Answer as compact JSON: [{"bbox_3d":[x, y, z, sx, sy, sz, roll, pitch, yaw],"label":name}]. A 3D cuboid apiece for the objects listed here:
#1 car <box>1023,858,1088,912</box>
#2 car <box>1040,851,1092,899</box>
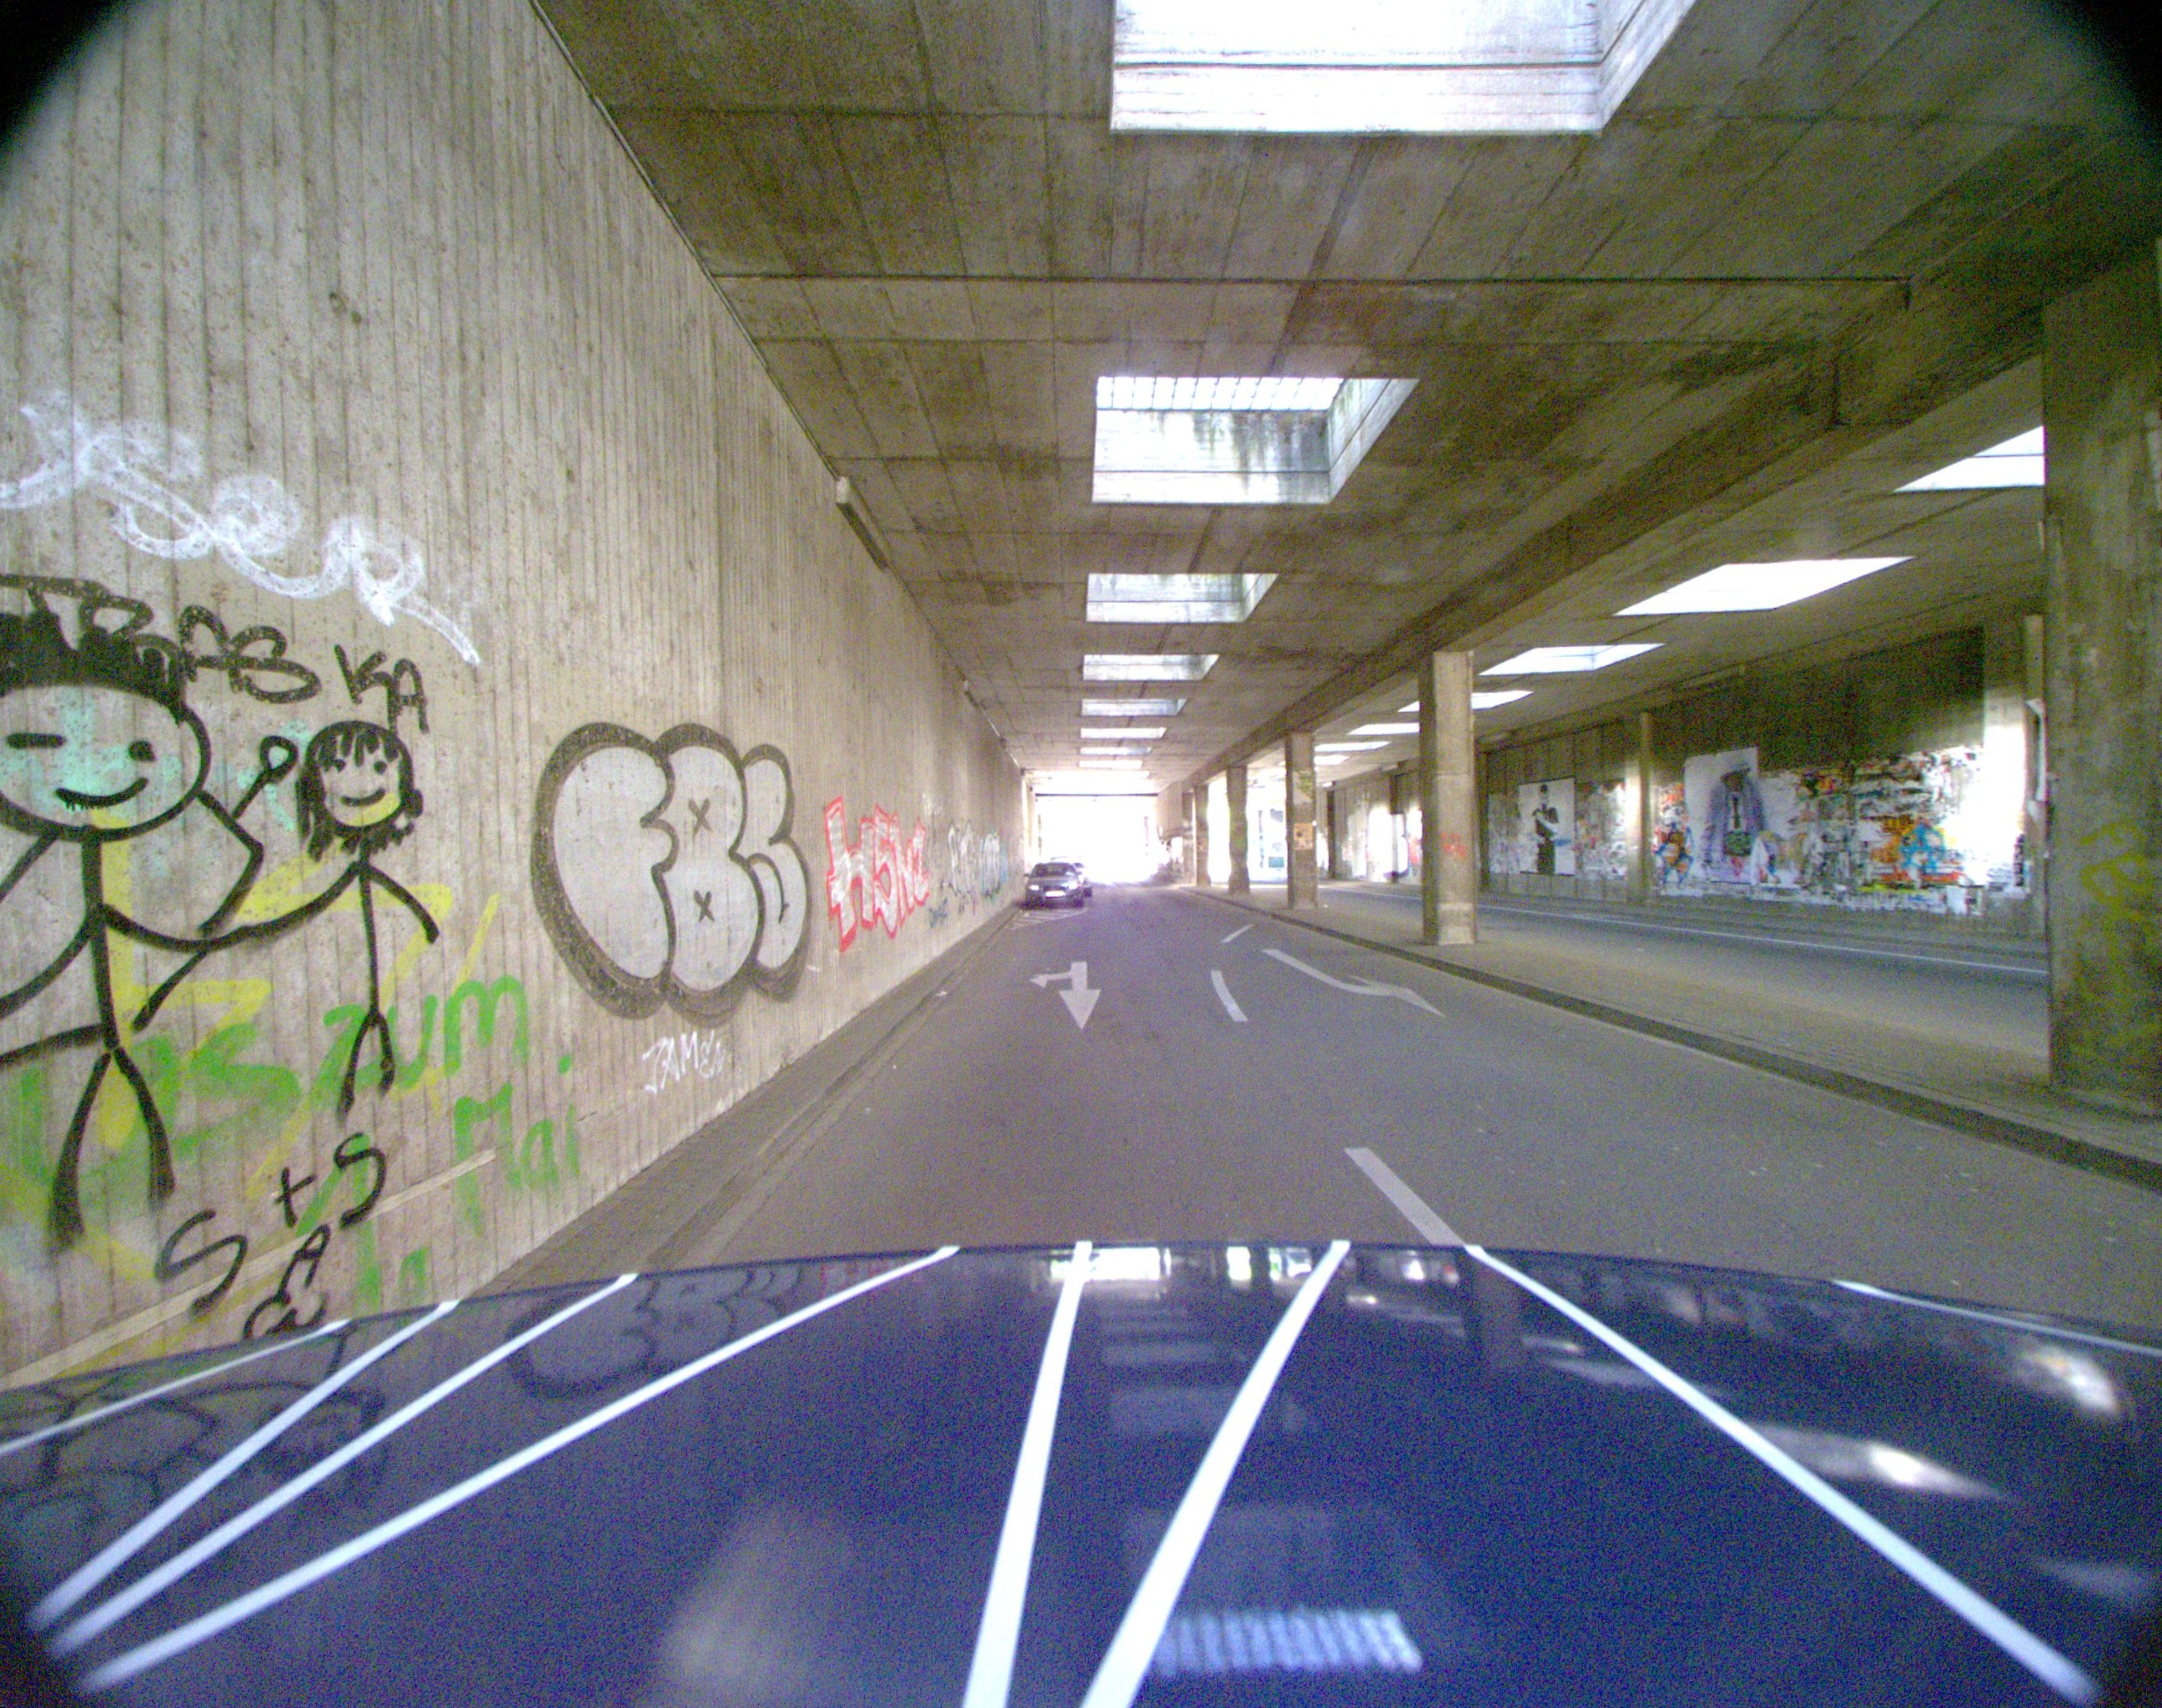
[{"bbox_3d":[-0.729,0.913,24.042,1.808,1.460,4.000,-2,0,1],"label":"car"},{"bbox_3d":[-0.525,0.757,29.778,1.861,1.709,4.000,-2,0,1],"label":"car"}]
